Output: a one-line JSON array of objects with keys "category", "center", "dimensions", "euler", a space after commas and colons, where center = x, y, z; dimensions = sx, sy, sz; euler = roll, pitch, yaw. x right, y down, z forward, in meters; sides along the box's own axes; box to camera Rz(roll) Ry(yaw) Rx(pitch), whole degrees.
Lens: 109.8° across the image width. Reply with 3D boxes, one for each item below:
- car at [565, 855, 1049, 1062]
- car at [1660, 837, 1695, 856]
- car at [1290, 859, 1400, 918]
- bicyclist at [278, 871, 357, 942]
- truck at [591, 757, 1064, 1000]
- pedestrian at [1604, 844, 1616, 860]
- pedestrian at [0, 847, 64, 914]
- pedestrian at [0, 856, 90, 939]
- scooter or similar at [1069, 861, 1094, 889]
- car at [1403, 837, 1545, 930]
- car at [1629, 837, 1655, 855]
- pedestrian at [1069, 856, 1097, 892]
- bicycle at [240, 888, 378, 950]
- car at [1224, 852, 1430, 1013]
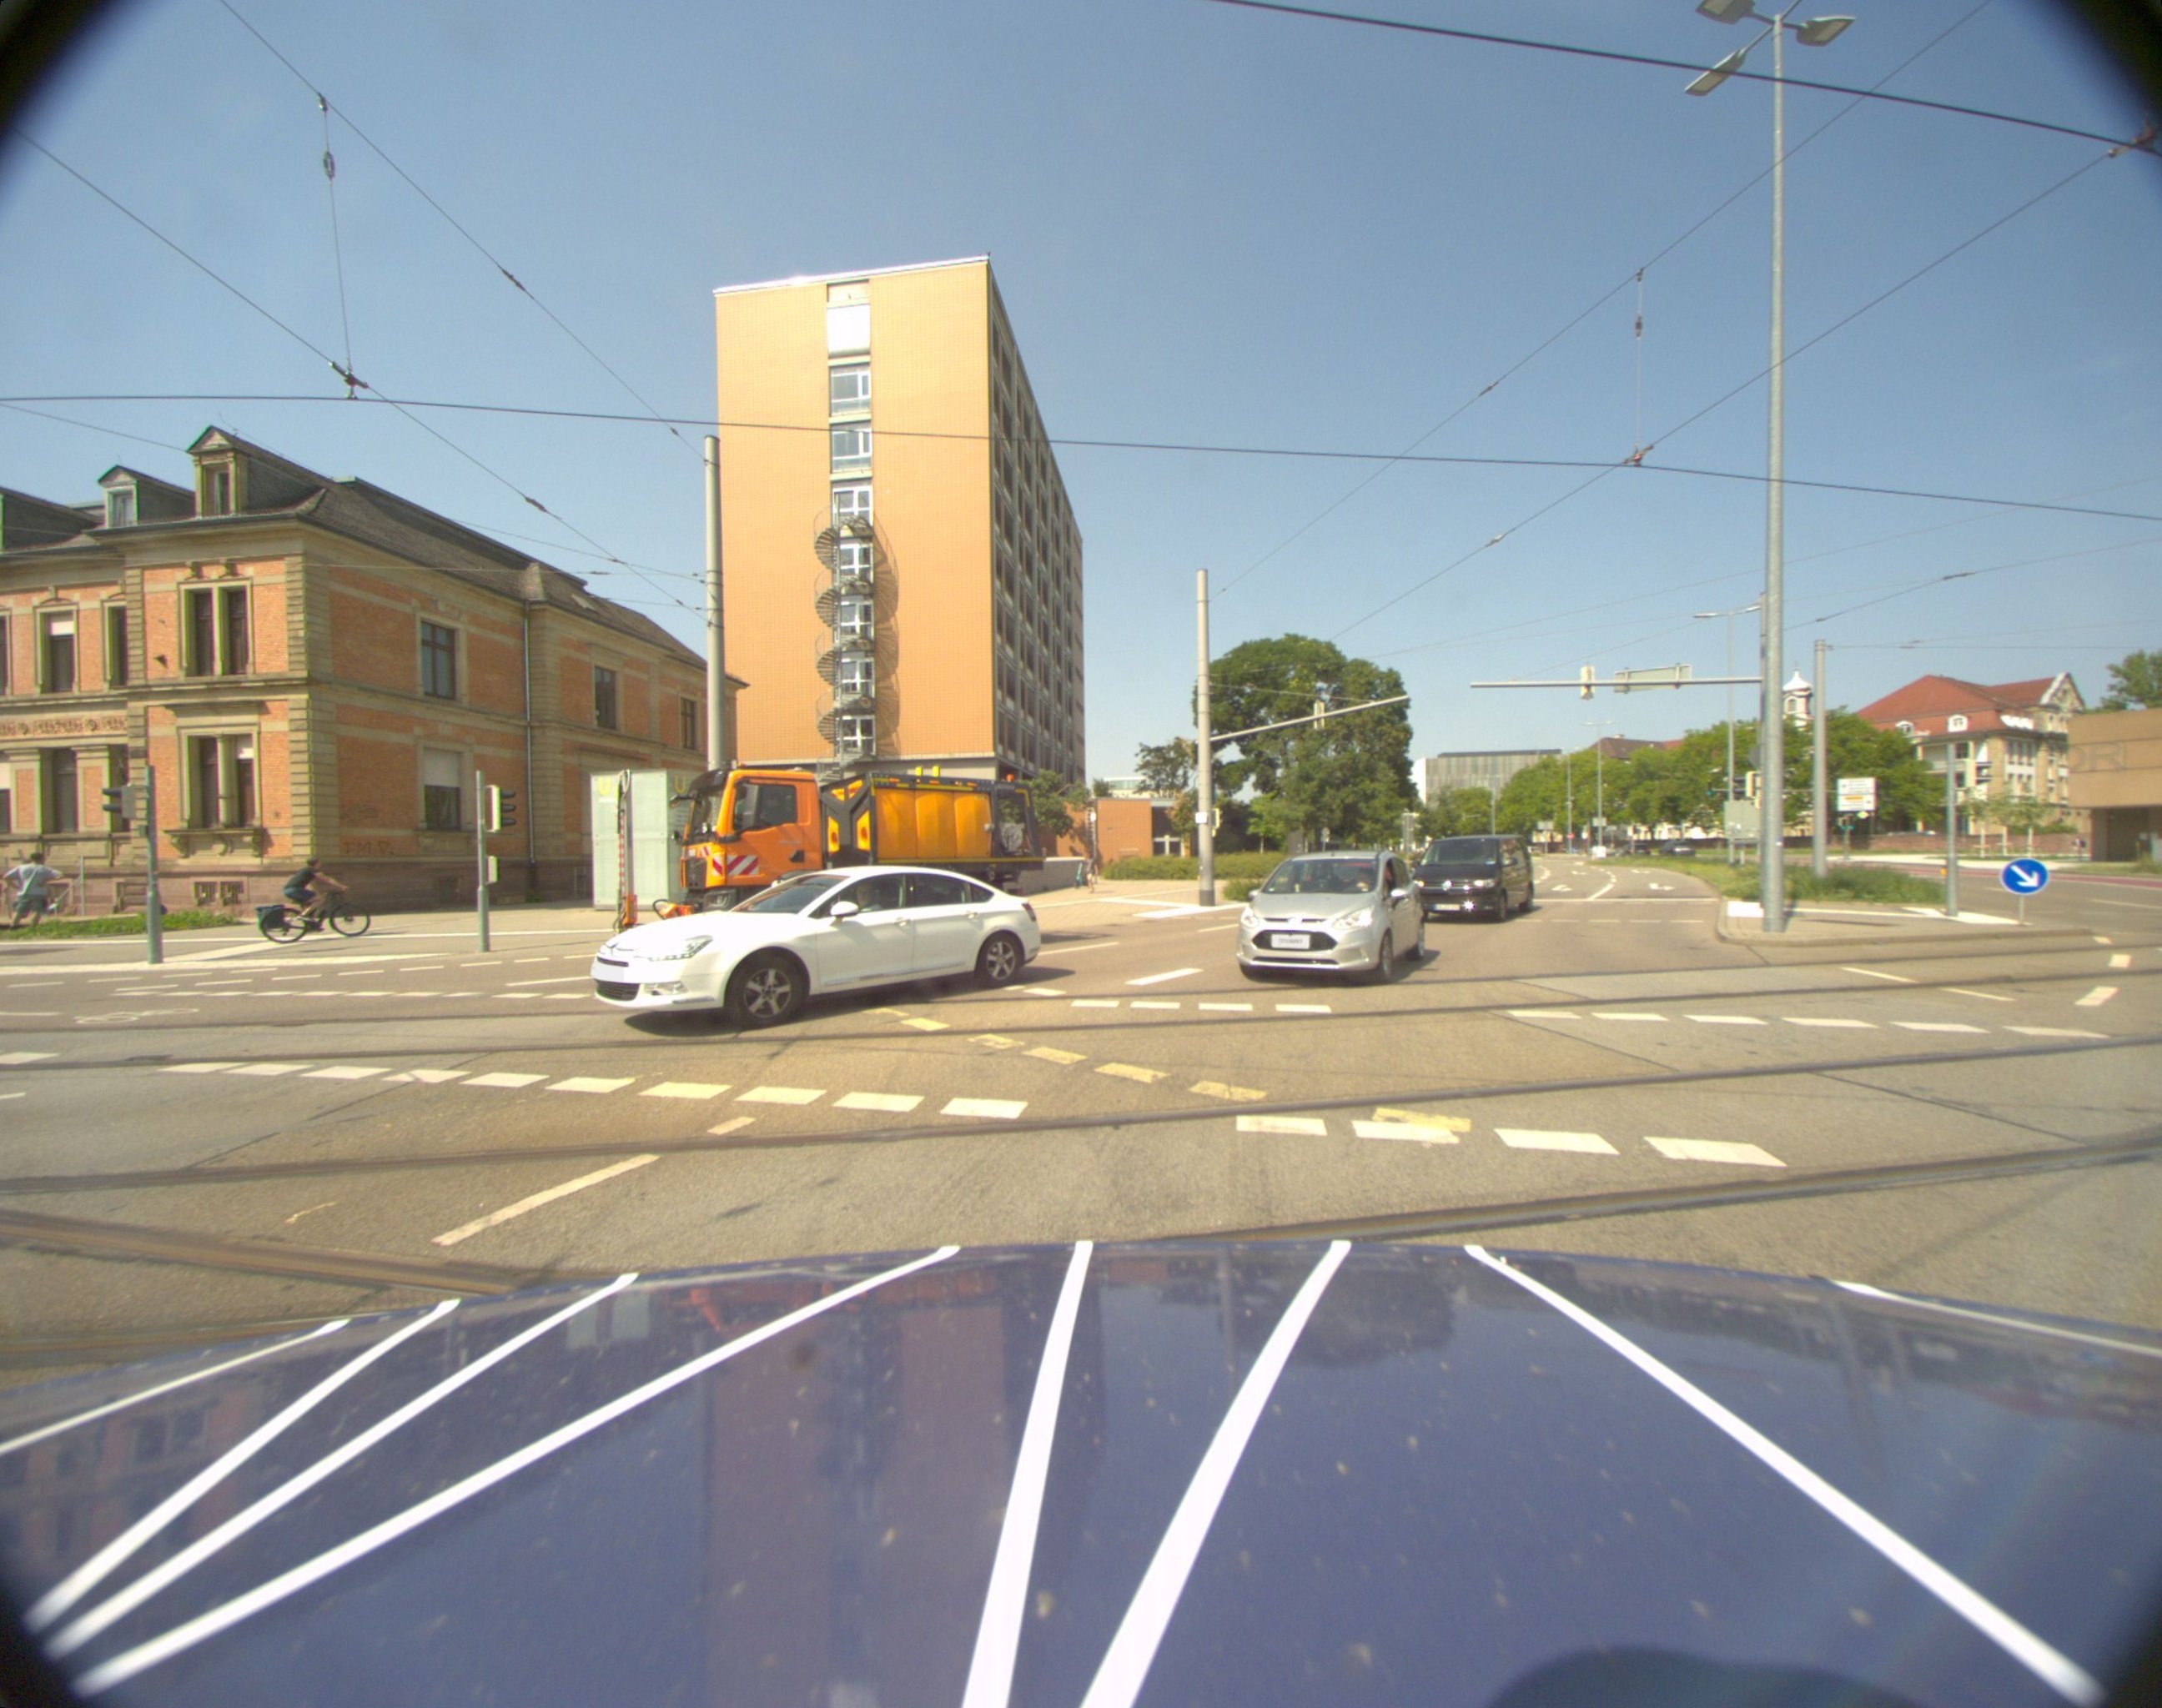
[{"category": "car", "center": [-2.613, 0.851, 8.224], "dimensions": [1.767, 1.608, 4.613], "euler": [-3, -2, 42]}, {"category": "car", "center": [53.626, -0.695, 68.324], "dimensions": [1.898, 1.643, 4.665], "euler": [-1, 1, 31]}, {"category": "car", "center": [7.261, 0.897, 20.772], "dimensions": [1.513, 1.400, 3.365], "euler": [-1, 0, 44]}, {"category": "bicyclist", "center": [-16.185, 1.090, 16.112], "dimensions": [0.801, 1.415, 0.932], "euler": [-1, 1, 25]}, {"category": "truck", "center": [-4.166, 0.247, 13.460], "dimensions": [7.203, 3.210, 3.034], "euler": [-3, 0, -39]}, {"category": "pedestrian", "center": [61.541, -0.275, 88.460], "dimensions": [0.774, 1.840, 0.900], "euler": [-1, 1, 1]}, {"category": "pedestrian", "center": [-26.628, 0.664, 19.283], "dimensions": [0.686, 1.662, 0.683], "euler": [-1, 1, -23]}, {"category": "pedestrian", "center": [-23.493, 0.959, 17.205], "dimensions": [1.040, 1.803, 0.683], "euler": [-1, 1, -23]}, {"category": "scooter or similar", "center": [0.032, 0.896, 32.673], "dimensions": [0.442, 1.150, 1.148], "euler": [0, 1, 35]}, {"category": "car", "center": [9.531, 0.587, 18.205], "dimensions": [1.895, 1.919, 4.895], "euler": [0, 1, 41]}, {"category": "car", "center": [51.170, -0.744, 69.352], "dimensions": [1.675, 1.511, 3.712], "euler": [-1, 1, 32]}, {"category": "pedestrian", "center": [0.090, 0.767, 29.775], "dimensions": [0.785, 1.387, 0.849], "euler": [-1, 1, 23]}, {"category": "bicycle", "center": [-16.220, 1.334, 16.024], "dimensions": [0.470, 1.120, 1.961], "euler": [0, 1, 29]}, {"category": "car", "center": [3.465, 0.804, 10.098], "dimensions": [1.688, 1.586, 4.369], "euler": [0, 1, 30]}]
